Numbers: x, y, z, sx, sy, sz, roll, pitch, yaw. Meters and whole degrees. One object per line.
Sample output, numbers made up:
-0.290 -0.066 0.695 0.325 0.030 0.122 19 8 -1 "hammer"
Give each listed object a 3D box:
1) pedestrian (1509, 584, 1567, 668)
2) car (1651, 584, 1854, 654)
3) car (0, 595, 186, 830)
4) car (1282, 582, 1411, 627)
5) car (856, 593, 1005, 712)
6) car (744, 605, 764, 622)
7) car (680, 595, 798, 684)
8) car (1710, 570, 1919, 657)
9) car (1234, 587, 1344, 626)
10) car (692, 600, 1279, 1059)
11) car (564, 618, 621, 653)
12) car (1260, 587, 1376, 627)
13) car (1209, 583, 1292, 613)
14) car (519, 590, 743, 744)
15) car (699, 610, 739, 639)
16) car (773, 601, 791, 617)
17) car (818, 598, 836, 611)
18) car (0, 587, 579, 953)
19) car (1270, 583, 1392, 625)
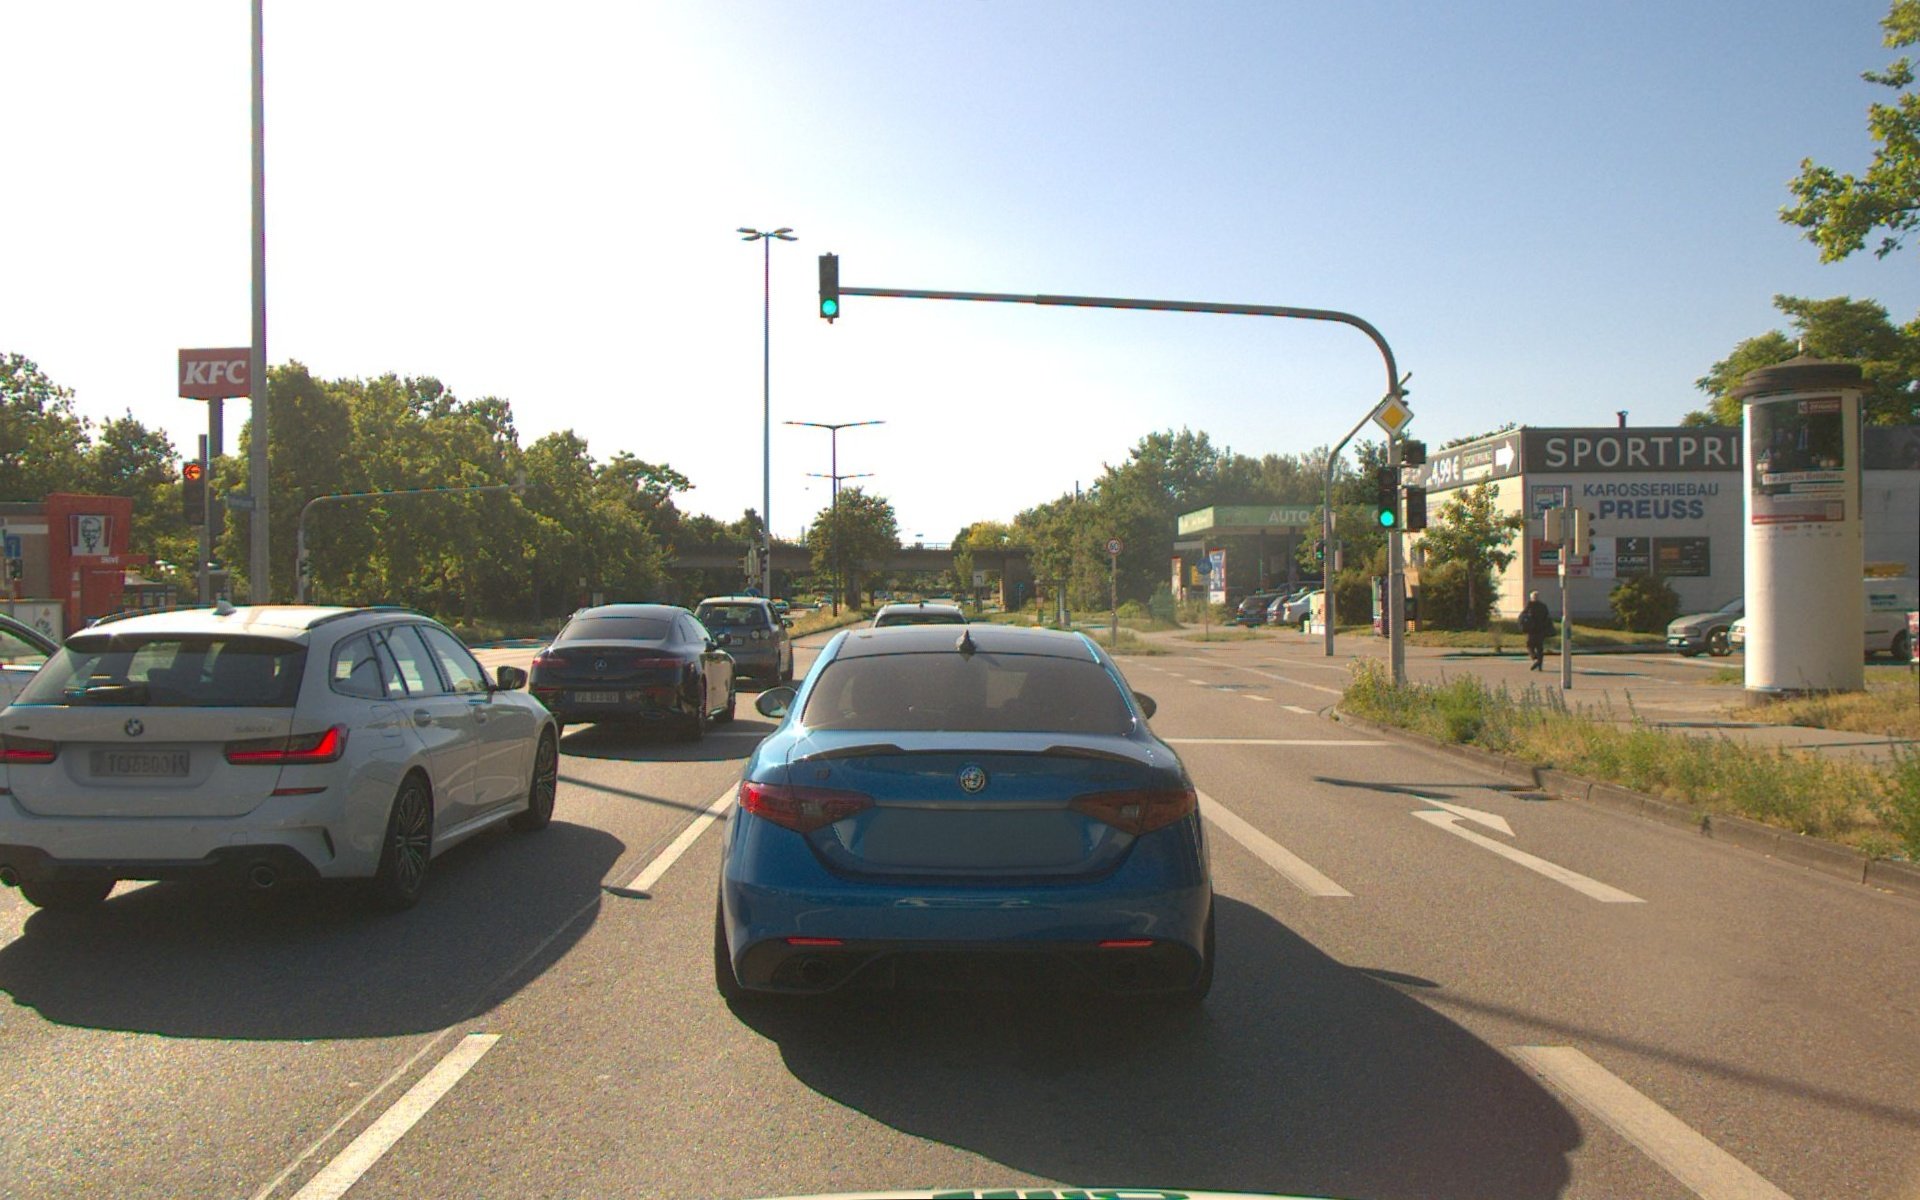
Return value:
12.462 0.558 35.683 0.906 1.766 0.938 1 -1 -1 "pedestrian"
19.623 0.445 41.061 4.201 1.576 1.764 -1 1 -2 "car"
-7.048 0.715 11.194 1.723 1.516 4.195 1 -1 -2 "car"
14.521 0.169 62.248 4.397 1.479 1.858 -2 -1 1 "car"
-0.434 0.676 22.599 1.813 1.443 4.401 1 -1 -2 "car"
-19.885 1.346 159.803 1.583 1.587 3.356 1 -1 -1 "car"
-4.033 0.709 30.780 1.723 1.516 4.401 1 -1 -2 "car"
19.654 0.283 37.727 4.293 1.833 1.764 -1 1 -2 "car"
14.275 0.281 71.853 4.397 1.479 1.858 -2 -1 1 "car"
0.019 0.762 7.485 1.857 1.443 4.401 1 -1 -2 "car"
-17.257 1.642 77.852 1.723 1.516 4.477 -2 0 -1 "car"
14.801 0.286 68.494 4.397 1.479 1.858 -2 -1 1 "car"
16.731 -0.107 95.333 4.457 1.516 1.765 -2 -1 1 "car"
-3.591 0.699 18.814 1.760 1.516 4.474 1 -1 -2 "car"
-13.539 1.346 93.084 1.723 1.516 3.836 -2 0 -1 "car"
-19.422 1.003 180.264 1.577 1.675 3.462 1 -1 -1 "car"
-15.843 0.572 196.927 1.723 1.516 4.477 -2 0 -1 "car"
-3.441 0.741 9.153 1.749 1.516 4.401 1 -1 -2 "car"
14.699 0.177 65.733 4.397 1.479 1.858 -2 -1 1 "car"
